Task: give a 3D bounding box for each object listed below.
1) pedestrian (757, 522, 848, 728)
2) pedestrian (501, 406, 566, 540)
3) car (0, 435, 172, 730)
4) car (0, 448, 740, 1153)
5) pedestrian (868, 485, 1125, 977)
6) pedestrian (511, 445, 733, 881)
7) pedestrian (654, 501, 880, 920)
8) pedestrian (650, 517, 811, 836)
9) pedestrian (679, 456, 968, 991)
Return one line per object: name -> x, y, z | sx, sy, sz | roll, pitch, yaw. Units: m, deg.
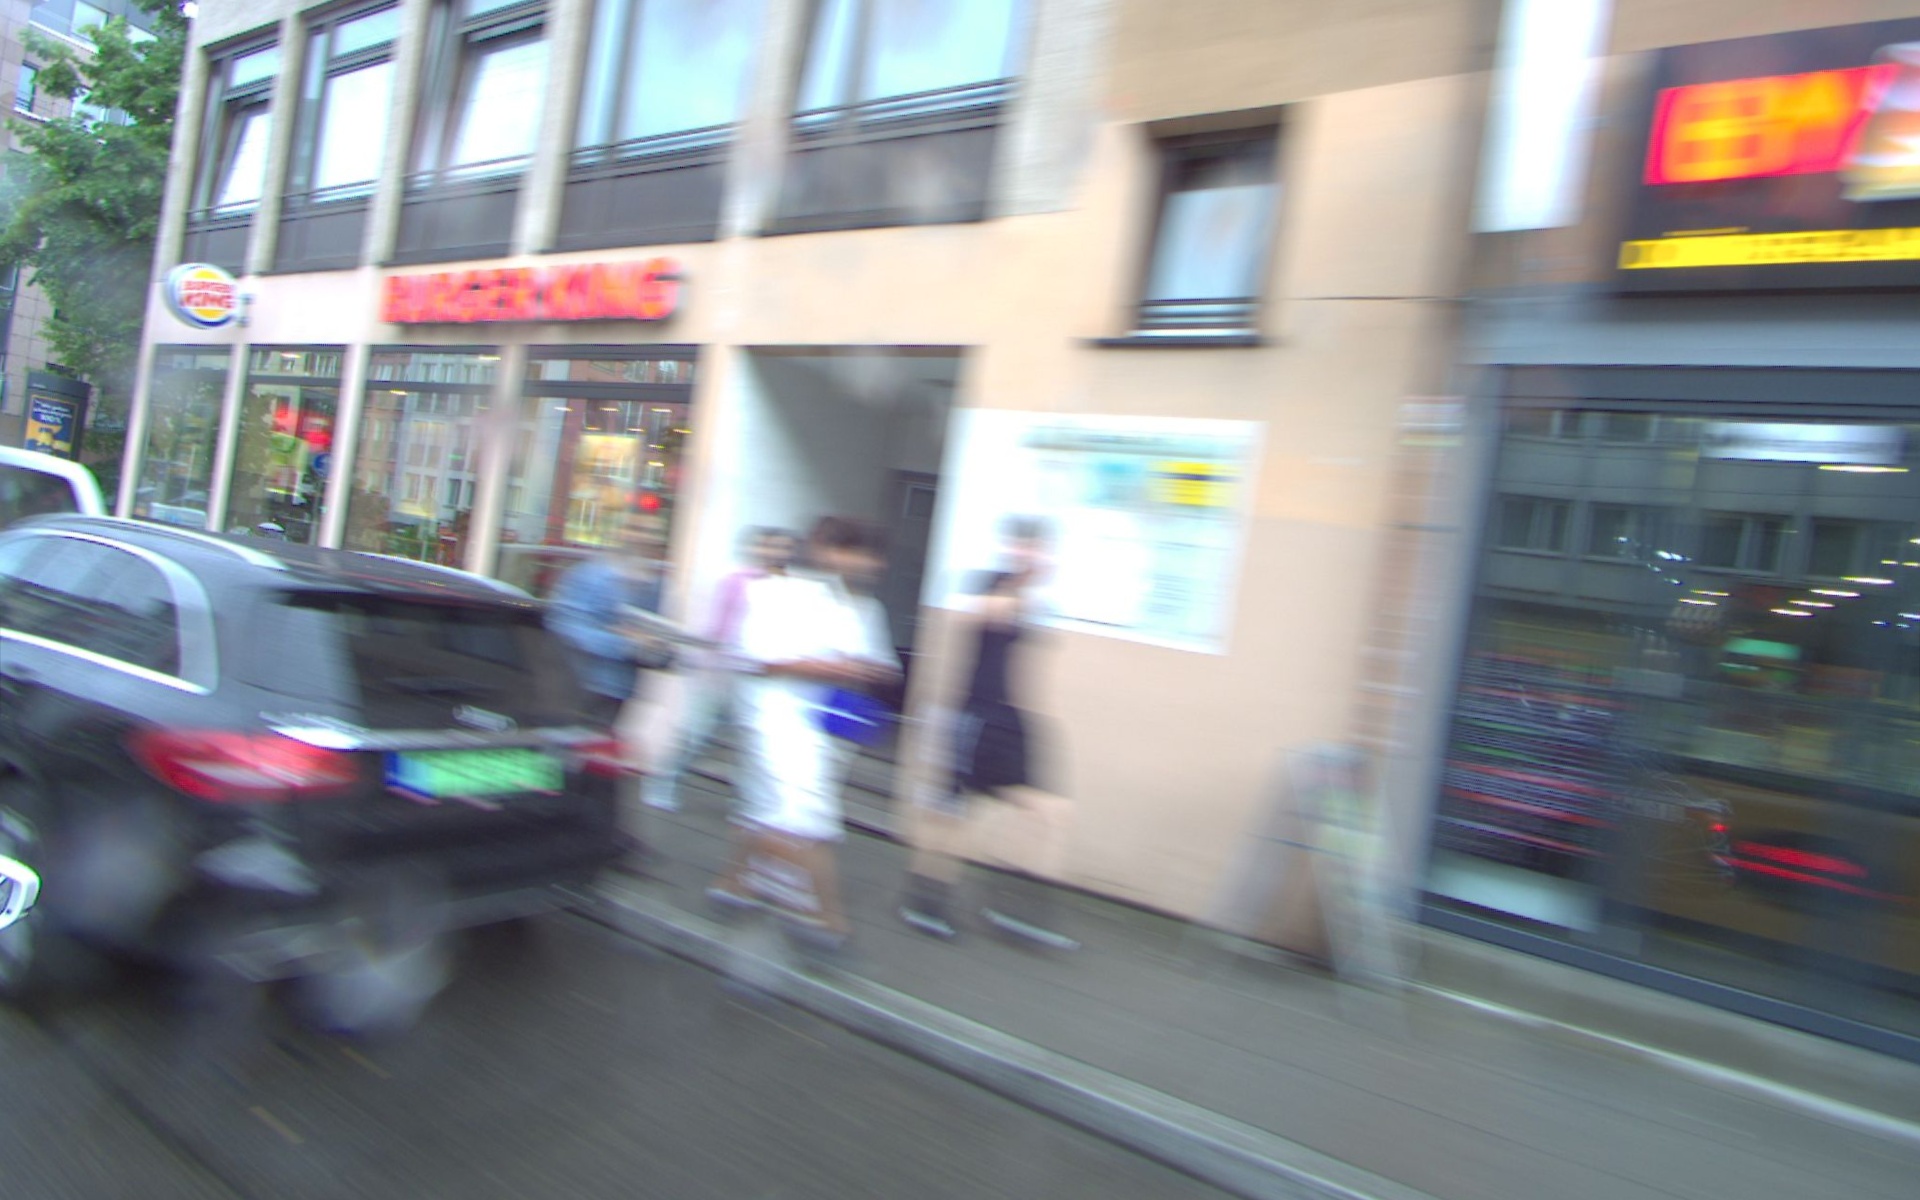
pedestrian -> -1.167, 0.187, 7.473 | 0.366, 1.471, 0.359 | 7, 1, 29
pedestrian -> -6.344, -1.867, 14.989 | 0.657, 1.842, 0.594 | 6, 1, -18
car -> -8.030, -0.347, 7.303 | 4.696, 1.828, 1.910 | 7, -1, 30
car -> -3.279, 0.347, 4.322 | 4.341, 1.635, 1.909 | 7, -1, 32
pedestrian -> 0.174, 0.506, 4.255 | 0.578, 1.842, 0.756 | 7, 1, 33
pedestrian -> -1.649, 0.289, 4.942 | 0.525, 1.972, 0.652 | 7, 1, 33
pedestrian -> -0.872, 0.470, 4.600 | 0.571, 1.735, 0.611 | 7, 1, 33
pedestrian -> -1.334, 0.433, 5.882 | 0.469, 1.735, 0.576 | 7, 1, 33
pedestrian -> -0.525, 0.437, 3.995 | 0.642, 1.878, 0.696 | 7, 1, 33
